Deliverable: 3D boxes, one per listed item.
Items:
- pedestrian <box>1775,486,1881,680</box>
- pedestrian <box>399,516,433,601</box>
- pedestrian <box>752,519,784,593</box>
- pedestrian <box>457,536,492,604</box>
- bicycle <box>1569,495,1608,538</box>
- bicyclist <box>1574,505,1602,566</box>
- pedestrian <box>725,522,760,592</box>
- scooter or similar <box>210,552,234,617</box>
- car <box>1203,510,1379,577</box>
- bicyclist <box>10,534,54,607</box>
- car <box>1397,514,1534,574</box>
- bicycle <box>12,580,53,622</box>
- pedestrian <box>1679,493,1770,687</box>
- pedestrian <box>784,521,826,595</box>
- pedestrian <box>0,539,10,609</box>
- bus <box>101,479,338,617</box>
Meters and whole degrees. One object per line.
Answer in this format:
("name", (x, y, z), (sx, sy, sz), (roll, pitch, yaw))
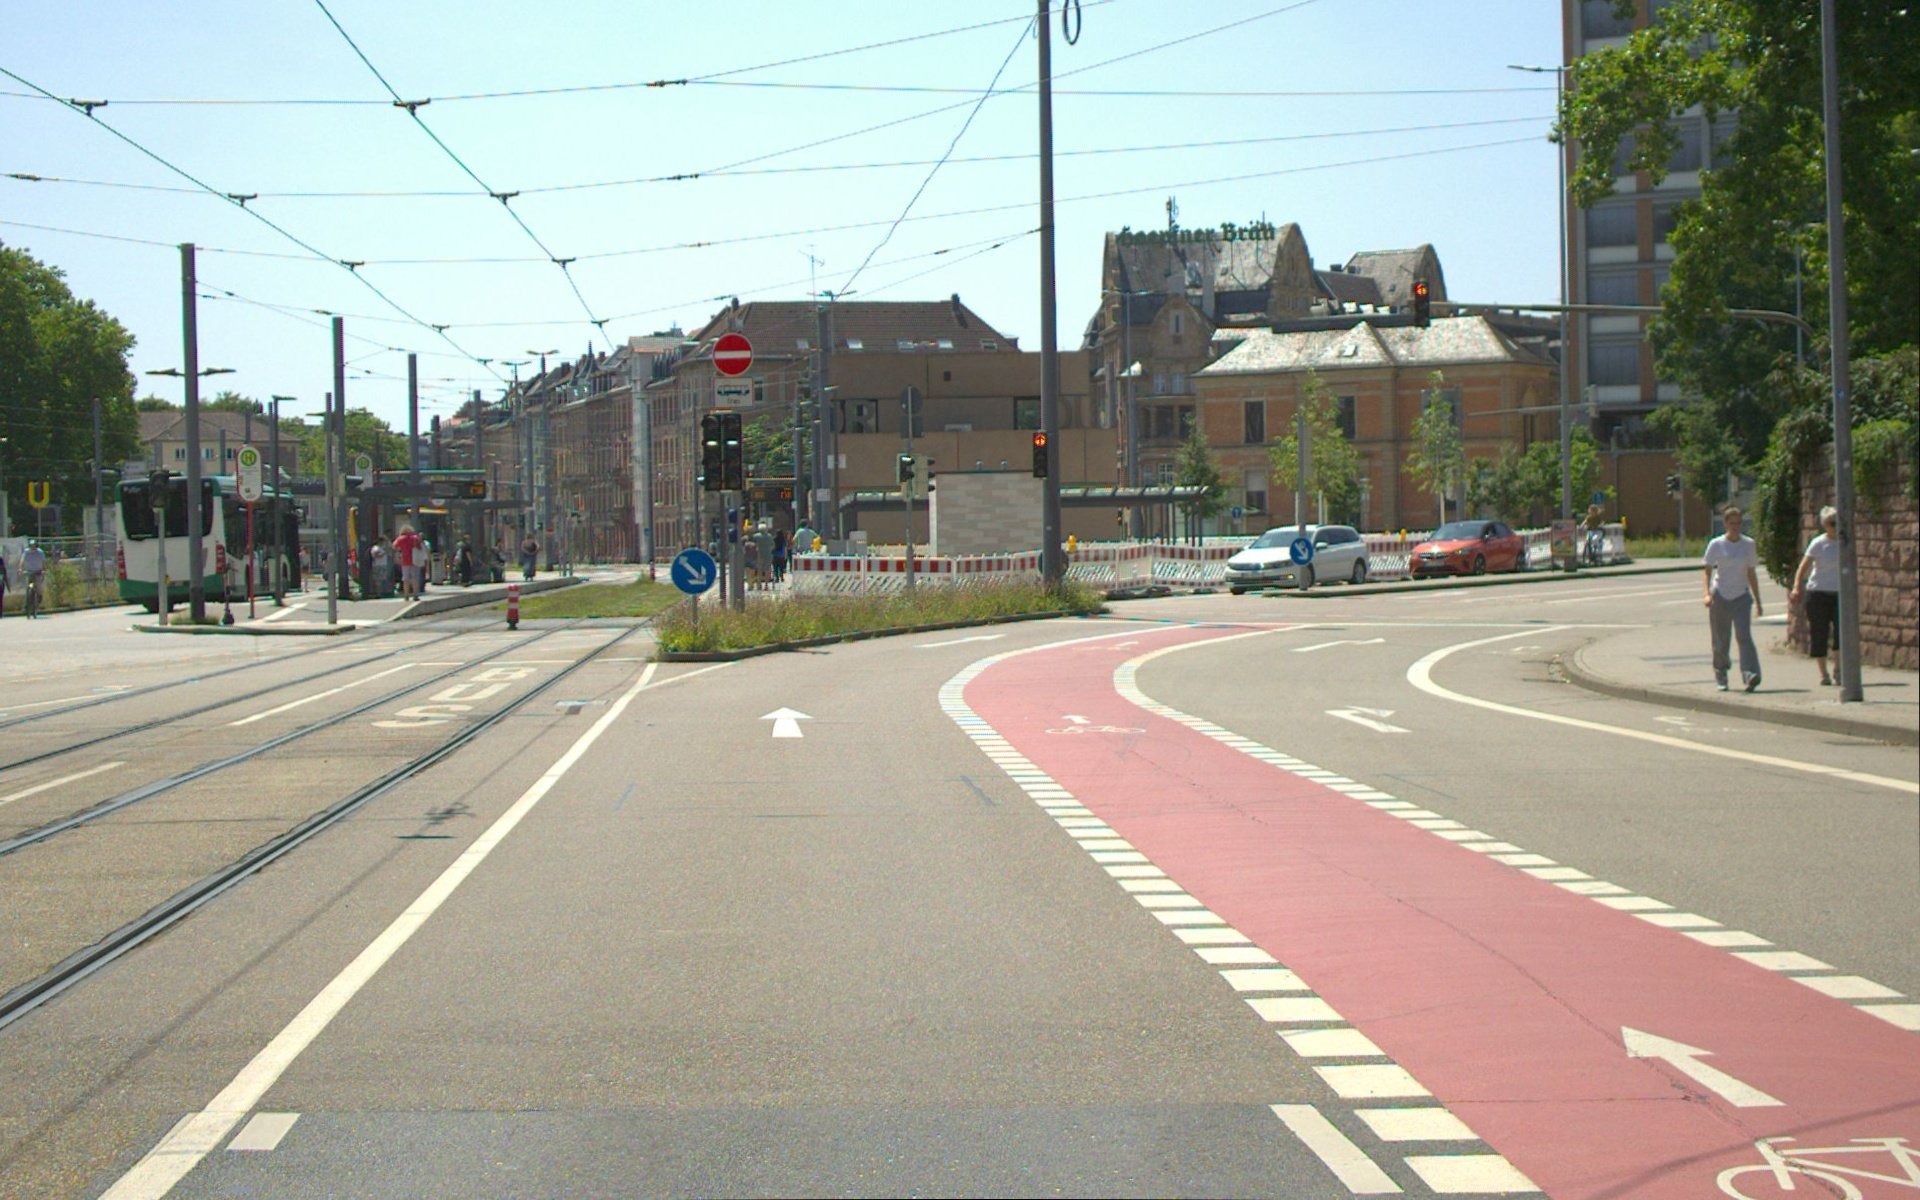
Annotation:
("pedestrian", (8.241, -0.166, 32.649), (0.814, 1.801, 0.700), (-1, 1, 1))
("pedestrian", (-12.353, -0.940, 78.098), (0.672, 1.903, 0.641), (-2, 1, -12))
("pedestrian", (-4.780, -1.098, 85.572), (0.657, 1.825, 0.760), (-1, 1, -10))
("pedestrian", (-15.204, -0.942, 107.726), (0.899, 2.089, 0.831), (-1, 1, 2))
("bicycle", (17.777, -2.353, 97.222), (0.398, 1.170, 1.767), (-1, -1, 35))
("bicyclist", (17.773, -1.817, 97.236), (0.568, 1.713, 0.506), (-1, 2, 38))
("pedestrian", (-5.358, -1.063, 84.761), (0.726, 1.701, 0.744), (-1, 0, -14))
("scooter or similar", (-13.954, -0.304, 65.045), (0.318, 1.202, 1.249), (-1, 1, -8))
("car", (7.432, -1.269, 76.780), (1.997, 1.433, 4.697), (-1, 1, 32))
("bicyclist", (-21.814, -0.702, 80.818), (0.820, 1.704, 0.771), (-1, 1, -5))
("car", (12.485, -1.379, 84.770), (1.734, 1.420, 4.116), (-1, 1, 34))
("bicycle", (-21.791, 0.015, 80.795), (0.503, 0.911, 2.371), (-1, 1, -5))
("pedestrian", (7.222, -0.103, 32.510), (0.677, 1.801, 0.748), (-1, 1, 1))
("pedestrian", (-3.941, -1.070, 87.384), (0.765, 1.858, 0.730), (-1, 0, -43))
("pedestrian", (-23.519, -0.623, 83.949), (0.566, 1.699, 0.397), (-1, 1, -10))
("bus", (-18.939, -1.390, 89.322), (3.010, 3.147, 17.500), (-1, 1, -2))
